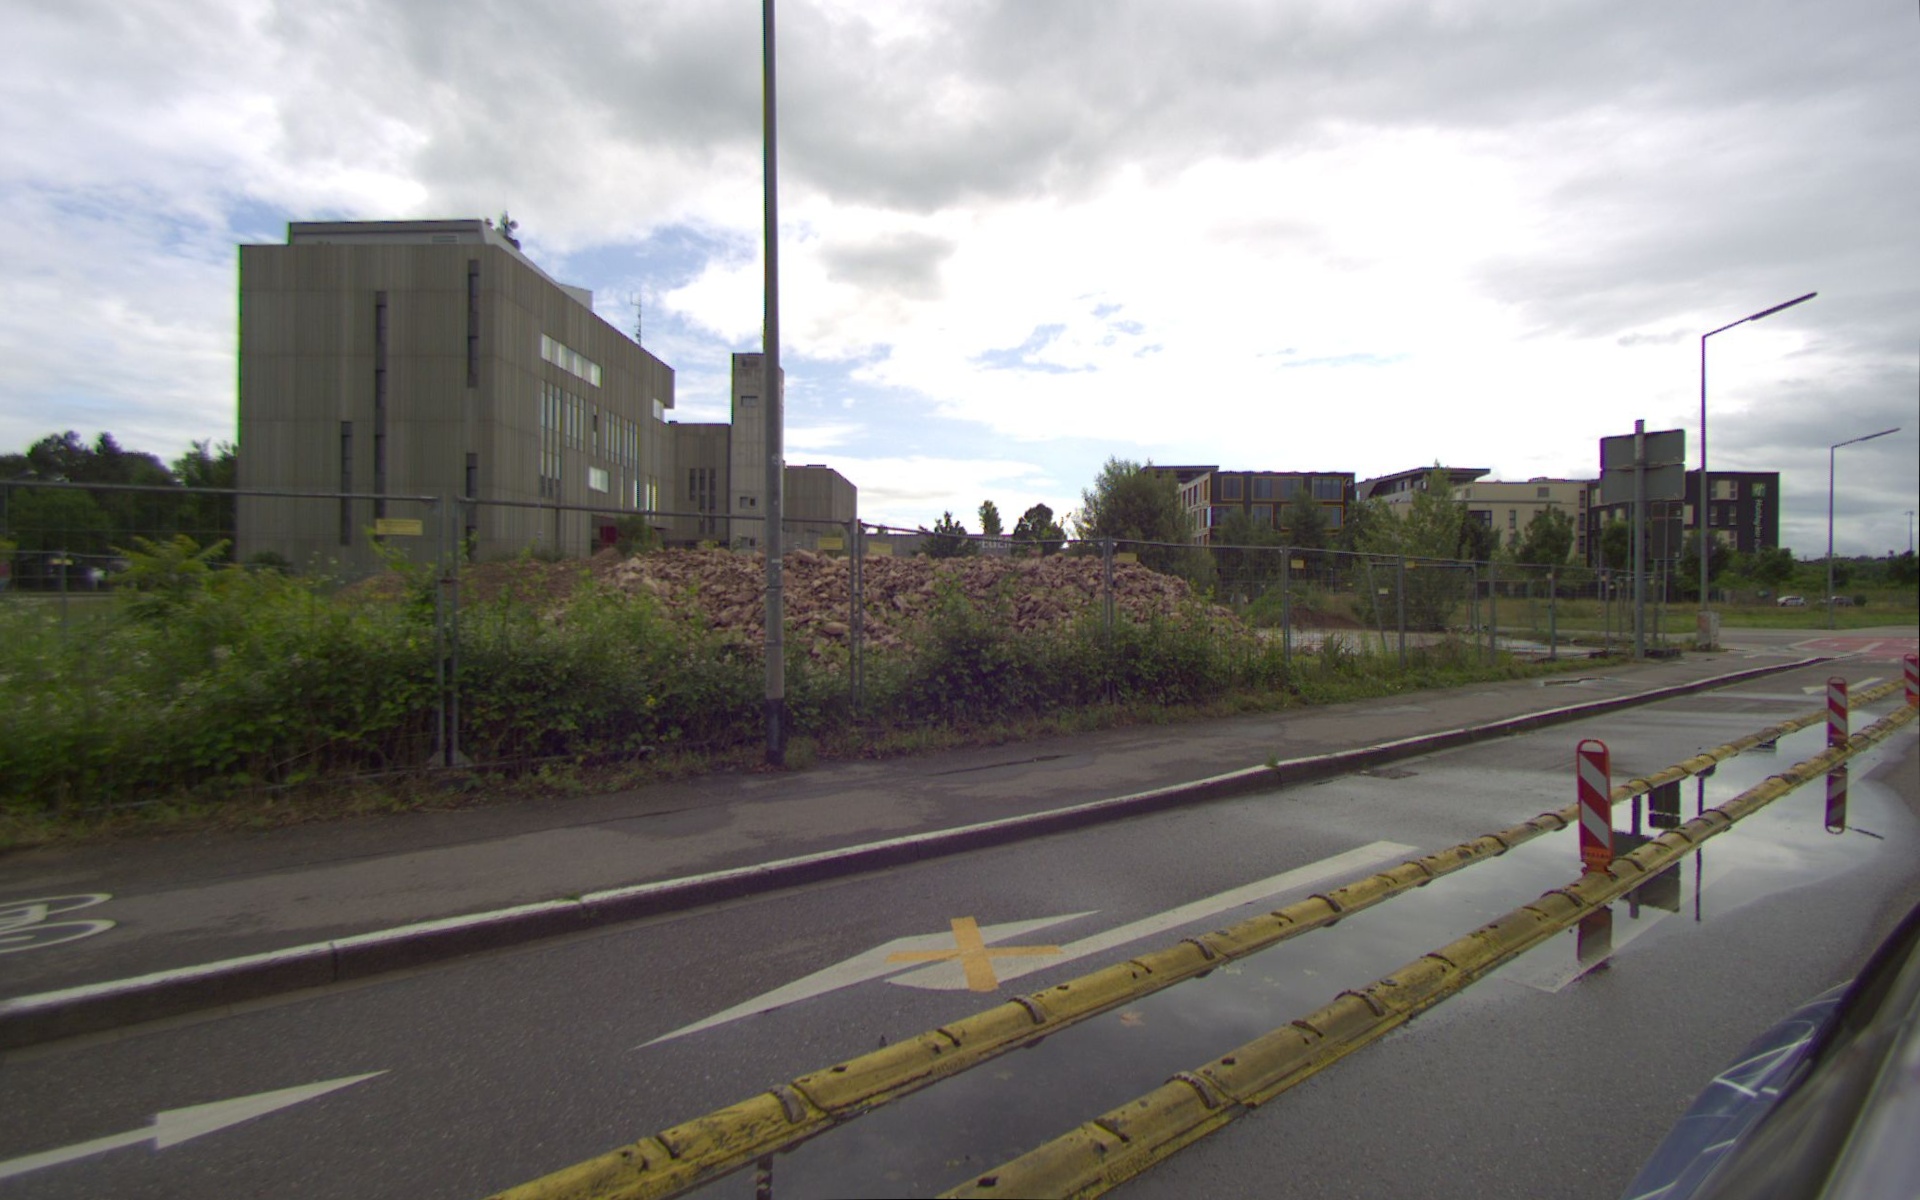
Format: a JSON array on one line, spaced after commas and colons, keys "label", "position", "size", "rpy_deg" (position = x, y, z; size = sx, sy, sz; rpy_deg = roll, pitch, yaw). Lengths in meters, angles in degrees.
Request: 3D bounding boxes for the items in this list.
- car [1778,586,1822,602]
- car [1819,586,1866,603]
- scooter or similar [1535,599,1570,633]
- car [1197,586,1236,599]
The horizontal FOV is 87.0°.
[{"label": "car", "position": [109.433, -0.809, 131.863], "size": [3.925, 2.039, 2.000], "rpy_deg": [1, 1, 1]}, {"label": "car", "position": [108.743, -0.641, 124.721], "size": [3.925, 2.039, 2.000], "rpy_deg": [1, 1, 1]}, {"label": "scooter or similar", "position": [21.258, 0.565, 36.328], "size": [0.437, 1.200, 1.327], "rpy_deg": [1, 1, 0]}, {"label": "car", "position": [28.457, -0.853, 112.238], "size": [3.931, 1.349, 1.561], "rpy_deg": [1, 1, 7]}]
